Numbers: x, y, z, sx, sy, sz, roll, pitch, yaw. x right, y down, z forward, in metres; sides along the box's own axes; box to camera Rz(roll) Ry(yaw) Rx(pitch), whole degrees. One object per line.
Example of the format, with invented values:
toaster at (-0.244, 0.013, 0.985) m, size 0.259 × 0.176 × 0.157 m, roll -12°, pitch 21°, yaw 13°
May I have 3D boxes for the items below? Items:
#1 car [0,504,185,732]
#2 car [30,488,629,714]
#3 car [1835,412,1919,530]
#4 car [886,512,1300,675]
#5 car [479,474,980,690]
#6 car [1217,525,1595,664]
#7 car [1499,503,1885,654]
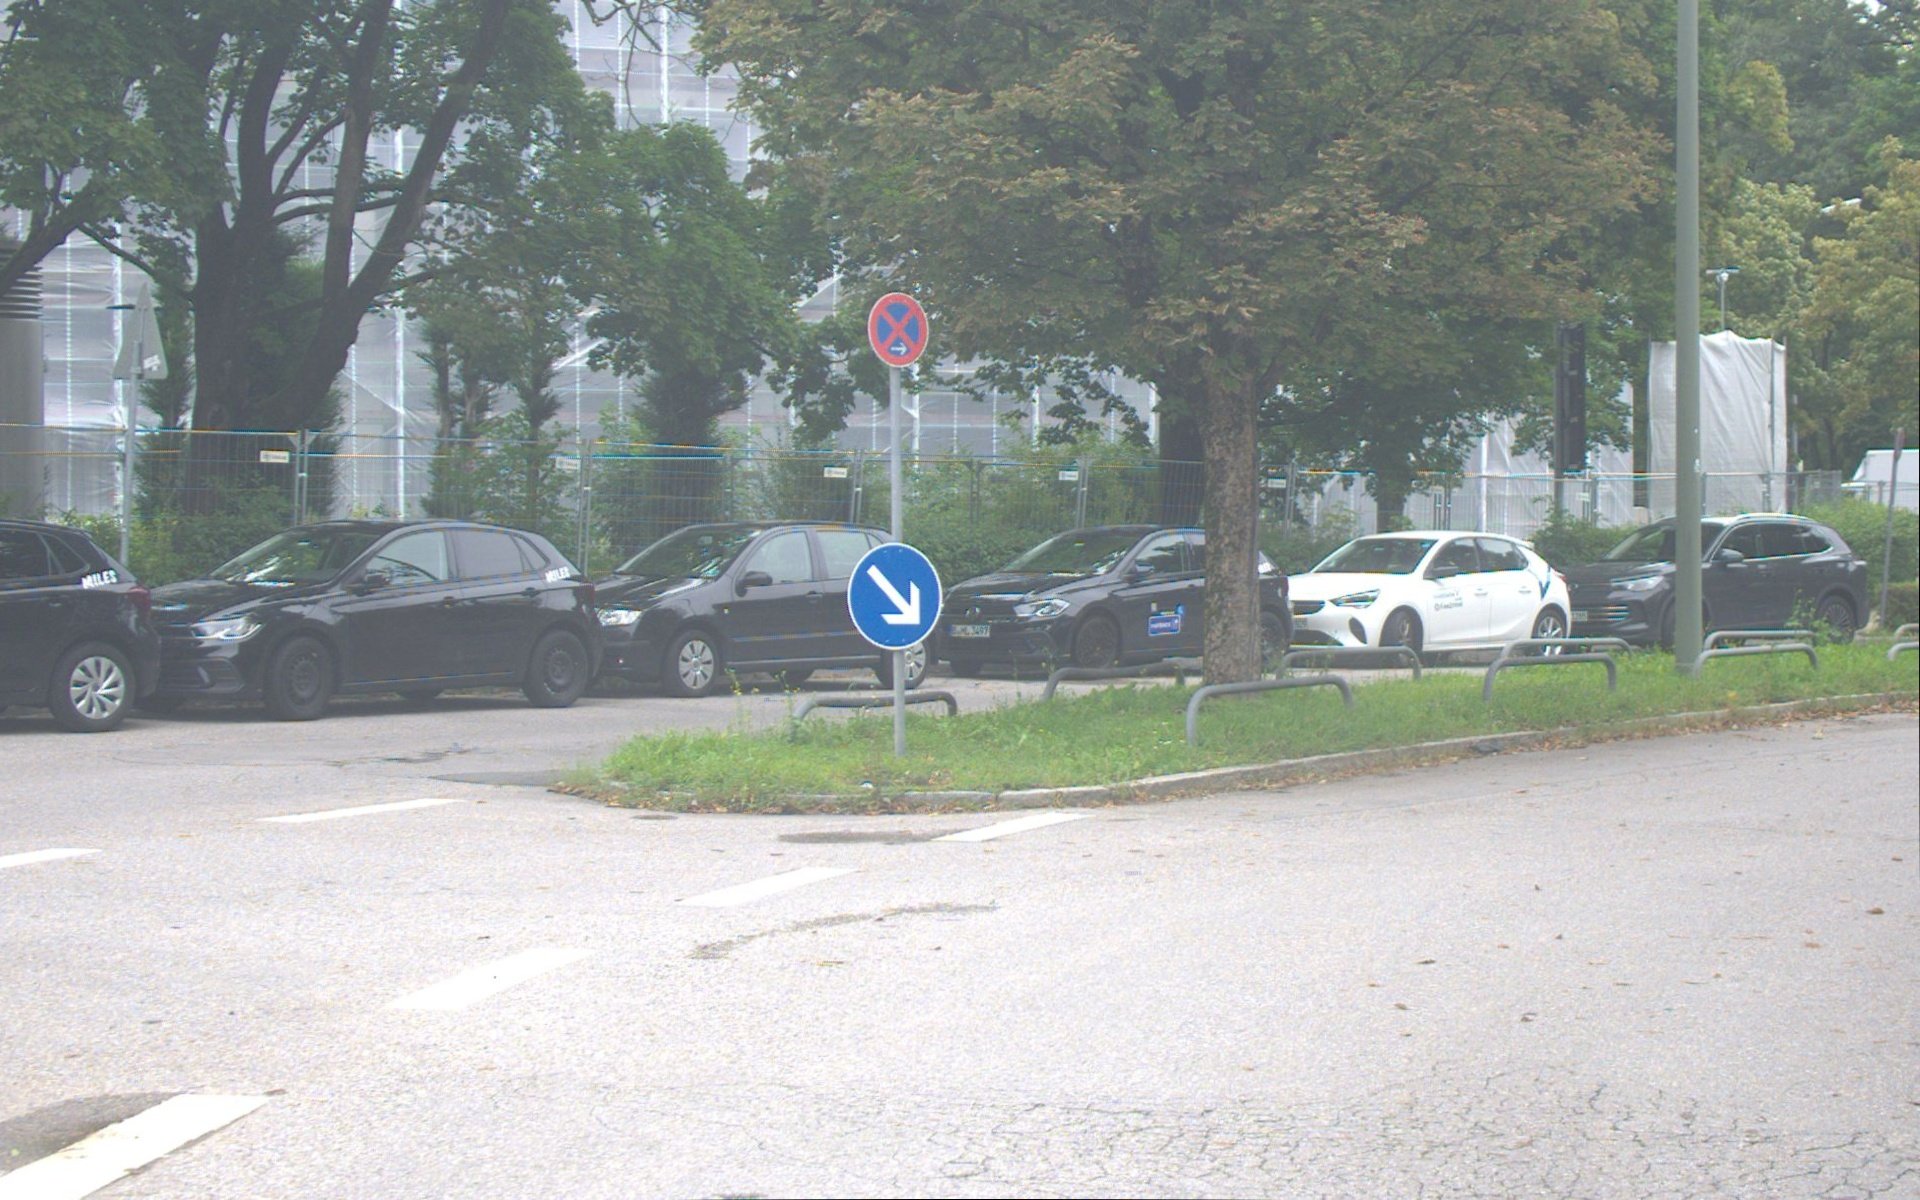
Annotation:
car at (-7.347, 0.101, 22.436) m, size 1.999 × 1.428 × 4.033 m, roll 4°, pitch 3°, yaw 42°
car at (-4.611, -0.034, 25.531) m, size 1.998 × 1.536 × 3.990 m, roll 1°, pitch 1°, yaw 42°
car at (29.681, -3.748, 100.247) m, size 3.084 × 3.437 × 8.722 m, roll 0°, pitch 1°, yaw -27°
car at (1.327, -0.088, 32.909) m, size 1.839 × 1.456 × 3.996 m, roll 1°, pitch 1°, yaw 42°
car at (-1.897, -0.171, 29.204) m, size 1.998 × 1.700 × 3.990 m, roll 1°, pitch 1°, yaw 42°
car at (4.768, -0.086, 36.367) m, size 1.801 × 1.379 × 4.207 m, roll 1°, pitch 1°, yaw 44°
car at (8.402, -0.222, 39.289) m, size 4.382 × 1.600 × 1.891 m, roll 1°, pitch 0°, yaw -37°
